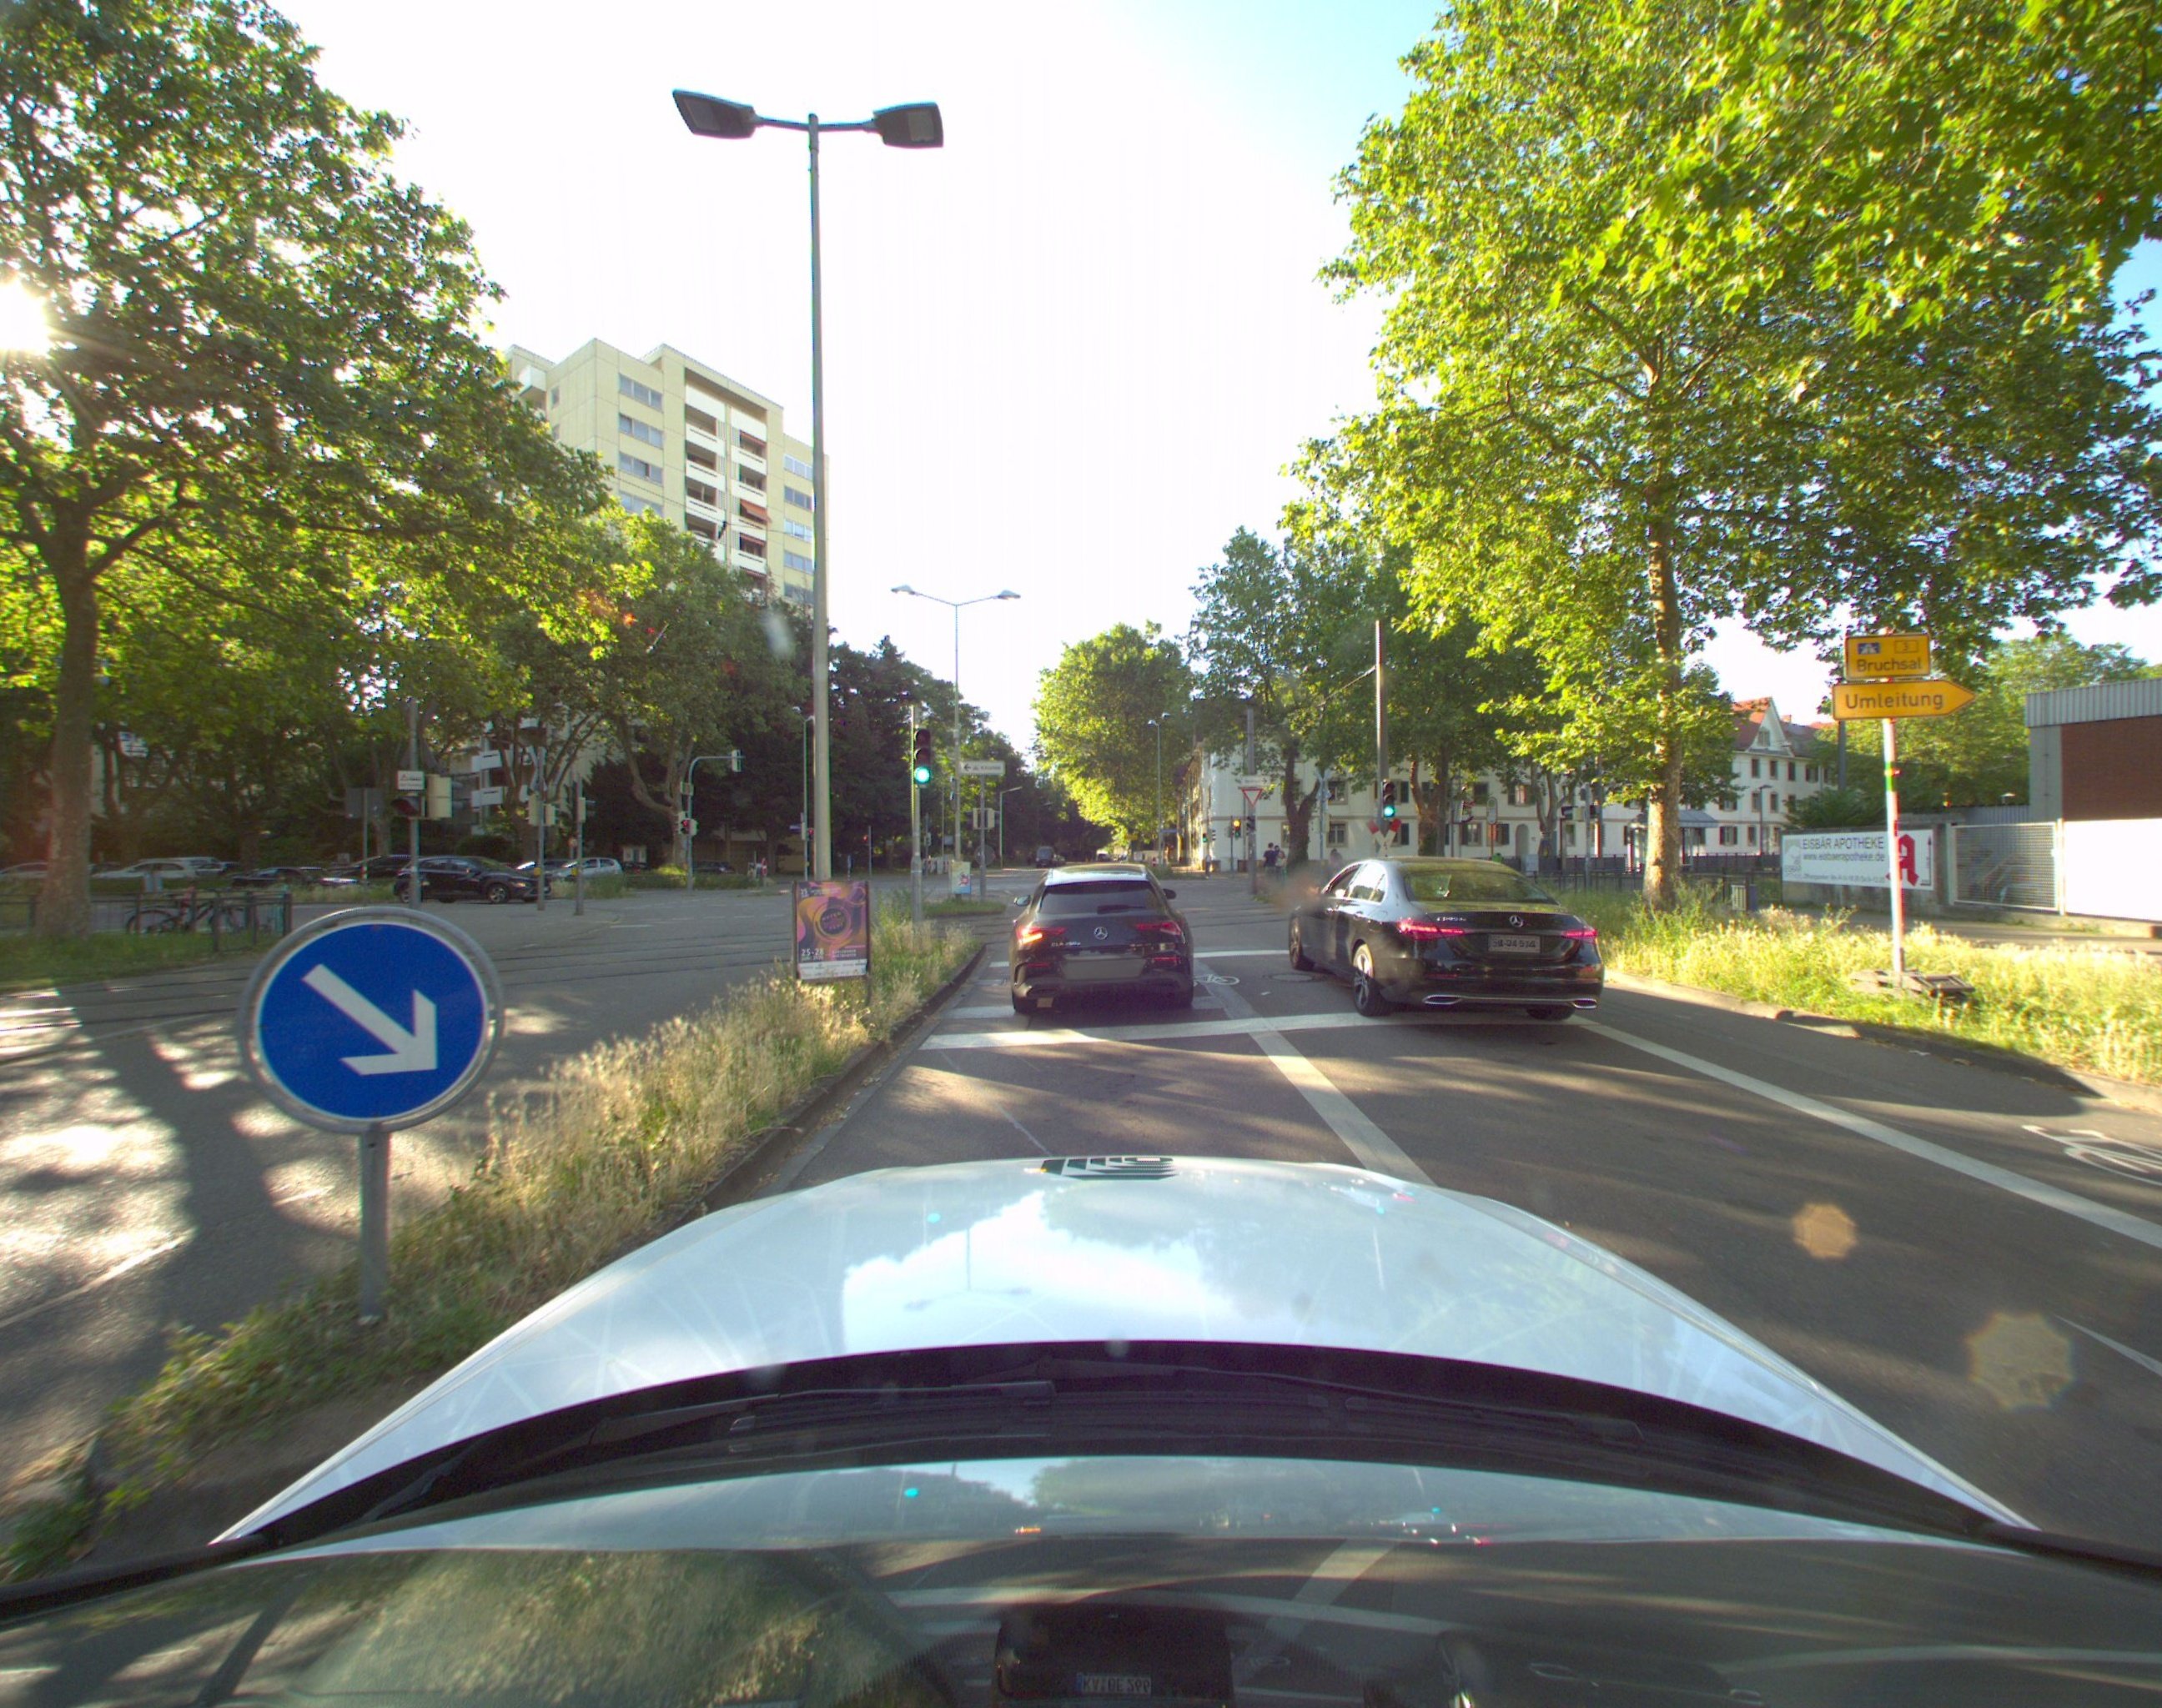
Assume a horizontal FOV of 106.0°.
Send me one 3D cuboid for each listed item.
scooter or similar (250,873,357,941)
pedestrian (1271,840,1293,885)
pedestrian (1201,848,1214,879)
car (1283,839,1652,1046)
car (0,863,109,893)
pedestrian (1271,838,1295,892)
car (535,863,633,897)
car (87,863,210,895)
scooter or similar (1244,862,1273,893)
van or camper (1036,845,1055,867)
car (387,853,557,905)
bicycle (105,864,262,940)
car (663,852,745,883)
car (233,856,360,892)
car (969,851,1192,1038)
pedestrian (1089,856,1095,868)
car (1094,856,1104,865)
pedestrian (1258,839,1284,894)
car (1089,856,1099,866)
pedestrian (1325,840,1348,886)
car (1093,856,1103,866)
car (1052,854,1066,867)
[{"bbox_3d":[-15.091,1.001,15.835,0.408,1.239,1.450,-1,-1,40],"label":"scooter or similar"},{"bbox_3d":[8.776,0.364,35.607,0.703,1.918,0.838,0,-1,-3],"label":"pedestrian"},{"bbox_3d":[7.919,0.587,50.969,0.703,1.918,0.838,0,-1,-2],"label":"pedestrian"},{"bbox_3d":[3.452,0.629,8.337,1.882,1.490,4.385,0,2,3],"label":"car"},{"bbox_3d":[-57.048,1.293,45.005,1.716,1.596,4.025,0,-1,32],"label":"car"},{"bbox_3d":[7.318,0.401,29.475,0.681,1.918,0.707,0,-1,-2],"label":"pedestrian"},{"bbox_3d":[-24.876,1.250,40.894,1.716,1.596,3.831,0,-1,32],"label":"car"},{"bbox_3d":[-49.111,1.274,42.987,1.716,1.596,4.025,0,-1,32],"label":"car"},{"bbox_3d":[6.420,0.836,29.513,0.826,1.104,0.808,0,-1,-4],"label":"scooter or similar"},{"bbox_3d":[-4.262,0.265,98.887,1.986,2.541,4.653,0,-1,2],"label":"van or camper"},{"bbox_3d":[-19.437,0.779,26.142,3.980,1.596,1.735,0,-1,-5],"label":"car"},{"bbox_3d":[-15.951,0.831,14.524,1.845,1.307,0.380,0,-1,-26],"label":"bicycle"},{"bbox_3d":[-22.576,0.810,48.791,3.963,1.774,2.005,0,-1,9],"label":"car"},{"bbox_3d":[-37.370,0.916,38.893,1.716,1.596,4.025,0,-1,32],"label":"car"},{"bbox_3d":[0.105,0.756,8.882,1.881,1.450,4.004,0,2,3],"label":"car"},{"bbox_3d":[1.740,1.287,129.024,0.704,1.918,0.837,0,-1,-8],"label":"pedestrian"},{"bbox_3d":[3.500,1.201,157.445,1.727,1.765,4.020,0,-1,2],"label":"car"},{"bbox_3d":[6.681,0.445,28.619,0.704,1.918,0.683,0,-1,-6],"label":"pedestrian"},{"bbox_3d":[2.330,1.274,144.427,1.727,1.765,4.020,0,-1,2],"label":"car"},{"bbox_3d":[10.762,0.399,34.365,0.703,1.918,0.838,0,-1,-2],"label":"pedestrian"},{"bbox_3d":[3.154,1.262,149.363,1.727,1.765,4.020,0,-1,2],"label":"car"},{"bbox_3d":[-3.085,0.933,116.105,1.727,1.765,4.087,0,-1,2],"label":"car"}]
